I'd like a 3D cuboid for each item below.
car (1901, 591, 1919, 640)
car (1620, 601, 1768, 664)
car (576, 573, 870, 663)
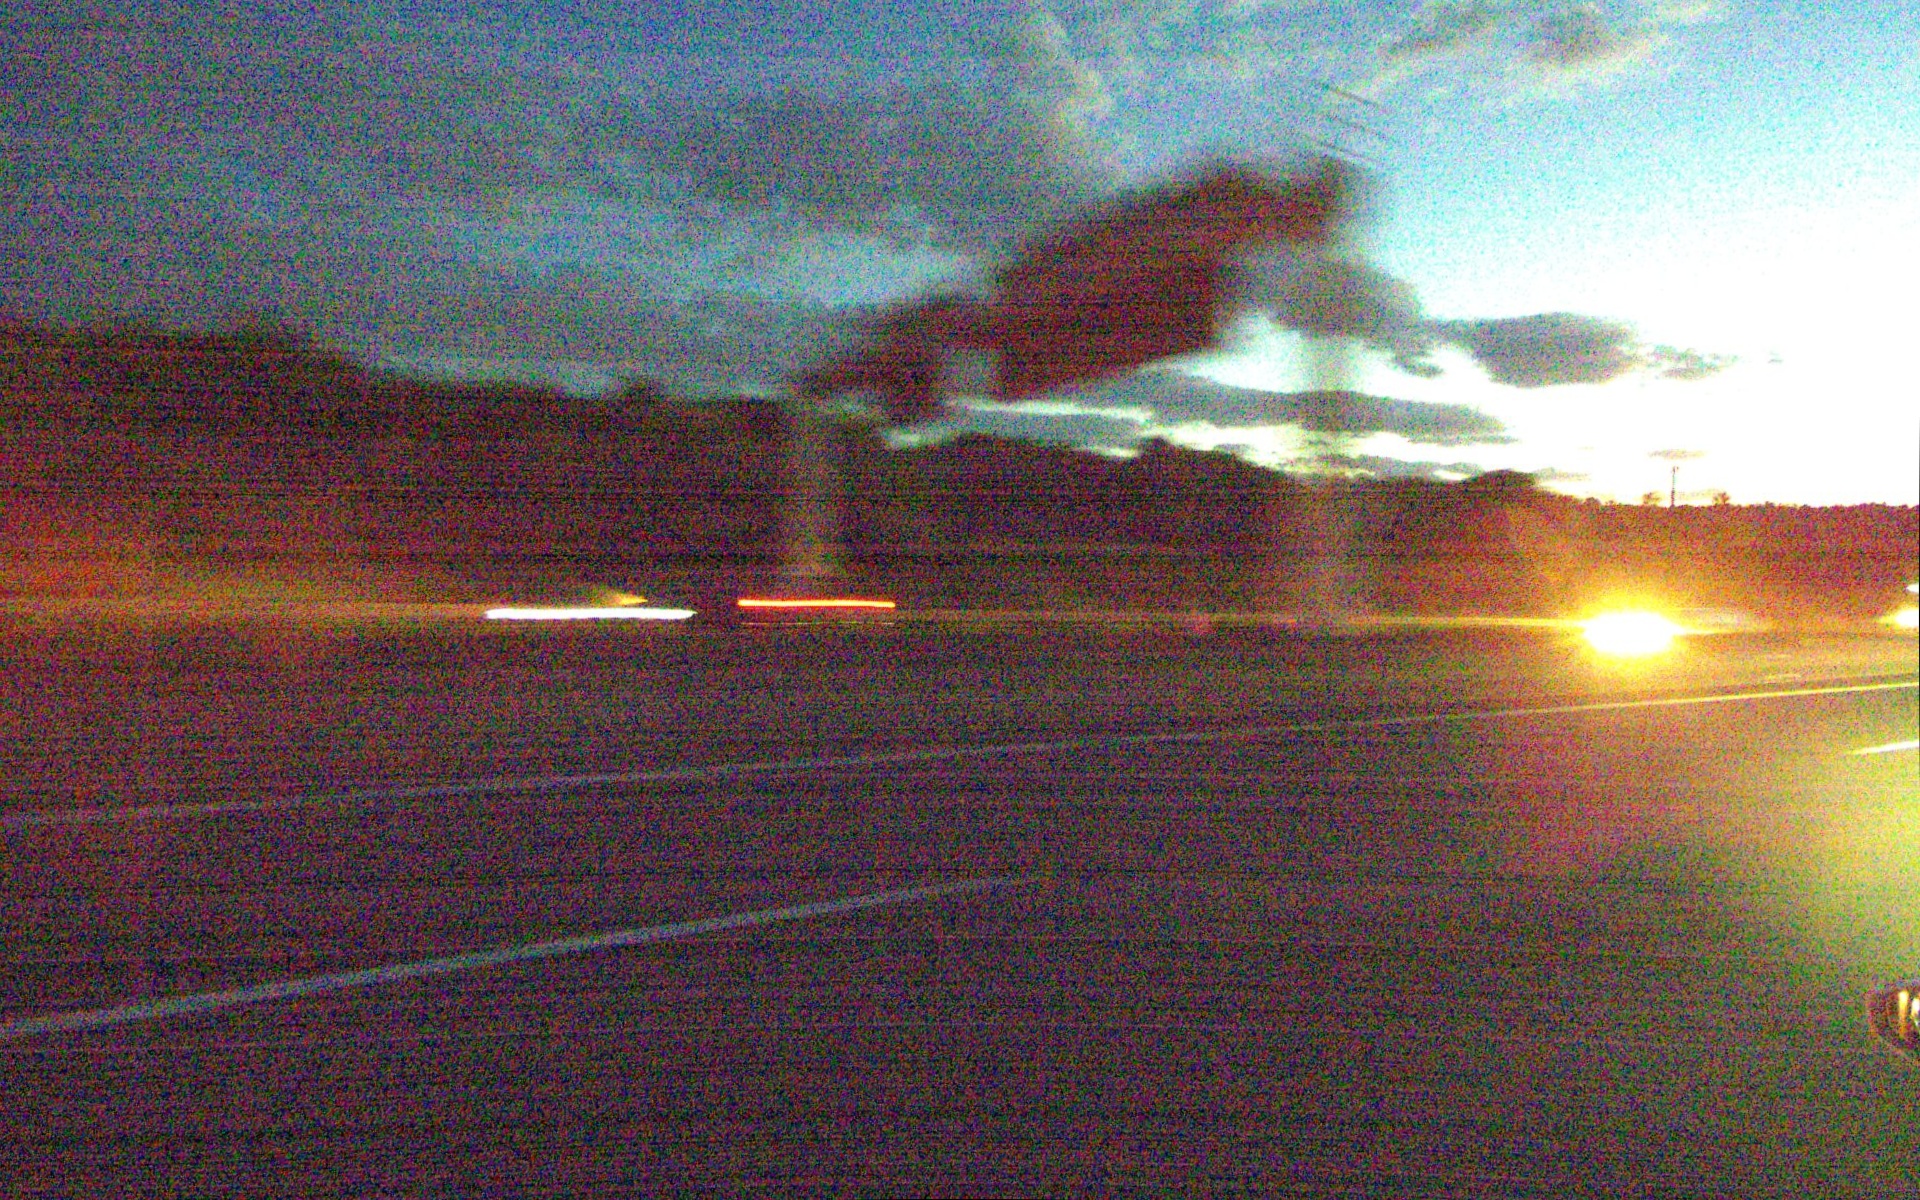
[{"bbox_3d":[62.213,1.042,63.014,8.237,2.975,2.445,1,1,-31],"label":"car"},{"bbox_3d":[22.501,0.967,30.760,4.604,1.757,1.984,1,1,-30],"label":"car"},{"bbox_3d":[-4.465,0.329,19.218,5.124,1.529,1.984,1,1,-30],"label":"car"}]
